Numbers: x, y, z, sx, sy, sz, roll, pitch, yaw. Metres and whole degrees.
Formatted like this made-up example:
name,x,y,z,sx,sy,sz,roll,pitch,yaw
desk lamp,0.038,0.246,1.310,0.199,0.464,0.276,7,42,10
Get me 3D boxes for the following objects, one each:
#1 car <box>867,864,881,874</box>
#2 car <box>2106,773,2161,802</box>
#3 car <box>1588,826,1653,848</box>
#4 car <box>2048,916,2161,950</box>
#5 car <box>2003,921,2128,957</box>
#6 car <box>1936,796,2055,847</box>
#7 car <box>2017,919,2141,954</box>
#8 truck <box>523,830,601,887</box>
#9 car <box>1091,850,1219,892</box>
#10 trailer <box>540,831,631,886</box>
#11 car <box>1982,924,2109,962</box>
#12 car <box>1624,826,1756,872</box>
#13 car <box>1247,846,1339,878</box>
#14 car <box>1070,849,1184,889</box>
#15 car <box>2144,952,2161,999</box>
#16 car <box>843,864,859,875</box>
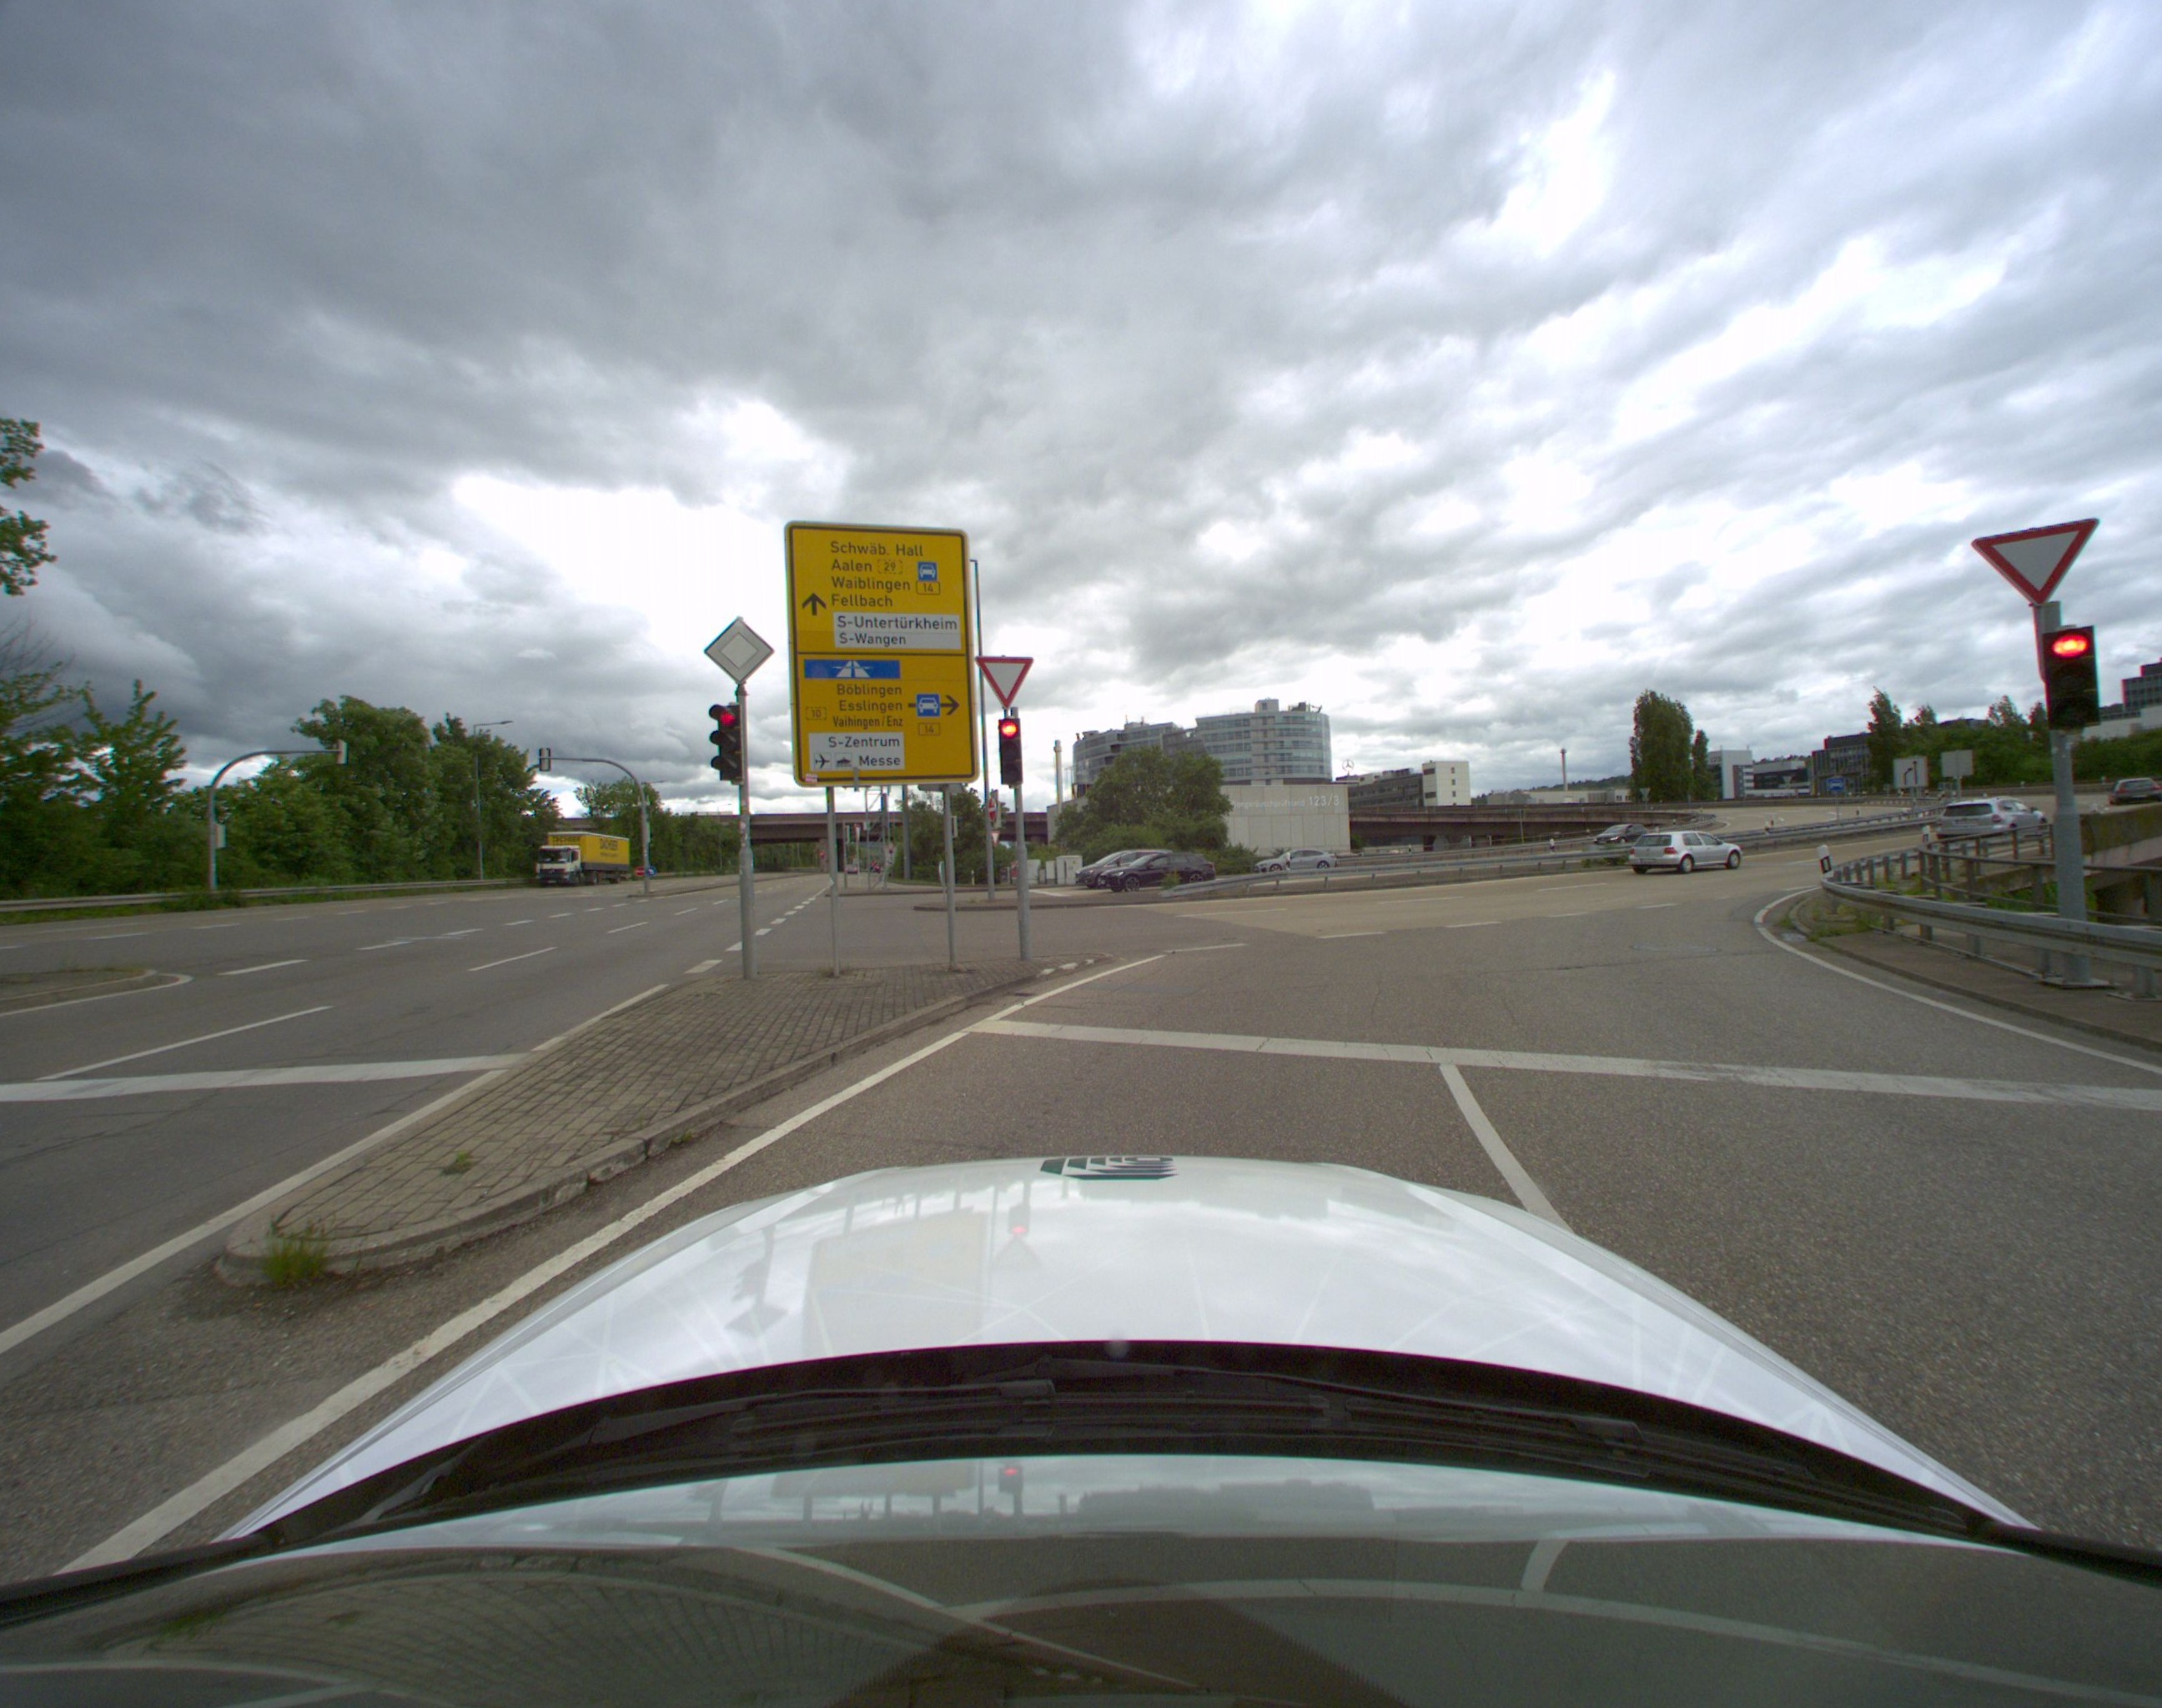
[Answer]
name,x,y,z,sx,sy,sz,roll,pitch,yaw
car,-32.374,2.328,127.408,1.995,1.464,4.092,-1,-2,-12
car,61.970,-3.865,47.938,4.267,1.461,1.709,-3,-1,-42
car,35.963,-1.168,54.299,4.002,1.421,1.899,-1,1,-27
car,54.894,4.184,43.558,1.832,1.354,3.827,-3,1,-29
car,50.309,4.315,41.687,1.832,1.354,3.827,-3,1,-29
car,33.729,-1.199,30.032,4.564,1.737,1.715,-2,0,-26
car,52.195,4.268,42.667,1.832,1.354,3.827,-3,1,-29
truck,-39.163,0.347,61.677,2.875,4.084,6.458,1,0,-13
car,2.878,0.637,31.923,4.617,1.457,1.945,-1,1,-17
trailer,-40.438,0.355,67.006,2.875,4.084,11.376,1,0,-13
car,48.153,4.404,40.734,1.832,1.354,3.827,-3,1,-29
car,21.033,-0.180,28.133,4.067,1.400,1.718,-2,0,-21
car,12.159,0.435,46.743,4.729,1.662,1.910,2,0,-9
car,2.013,0.638,35.941,4.689,1.571,1.945,-1,1,-17
car,41.873,4.509,30.406,4.006,1.534,1.812,-3,1,-25
car,-32.657,2.207,115.885,1.996,1.442,4.091,0,-2,-13
